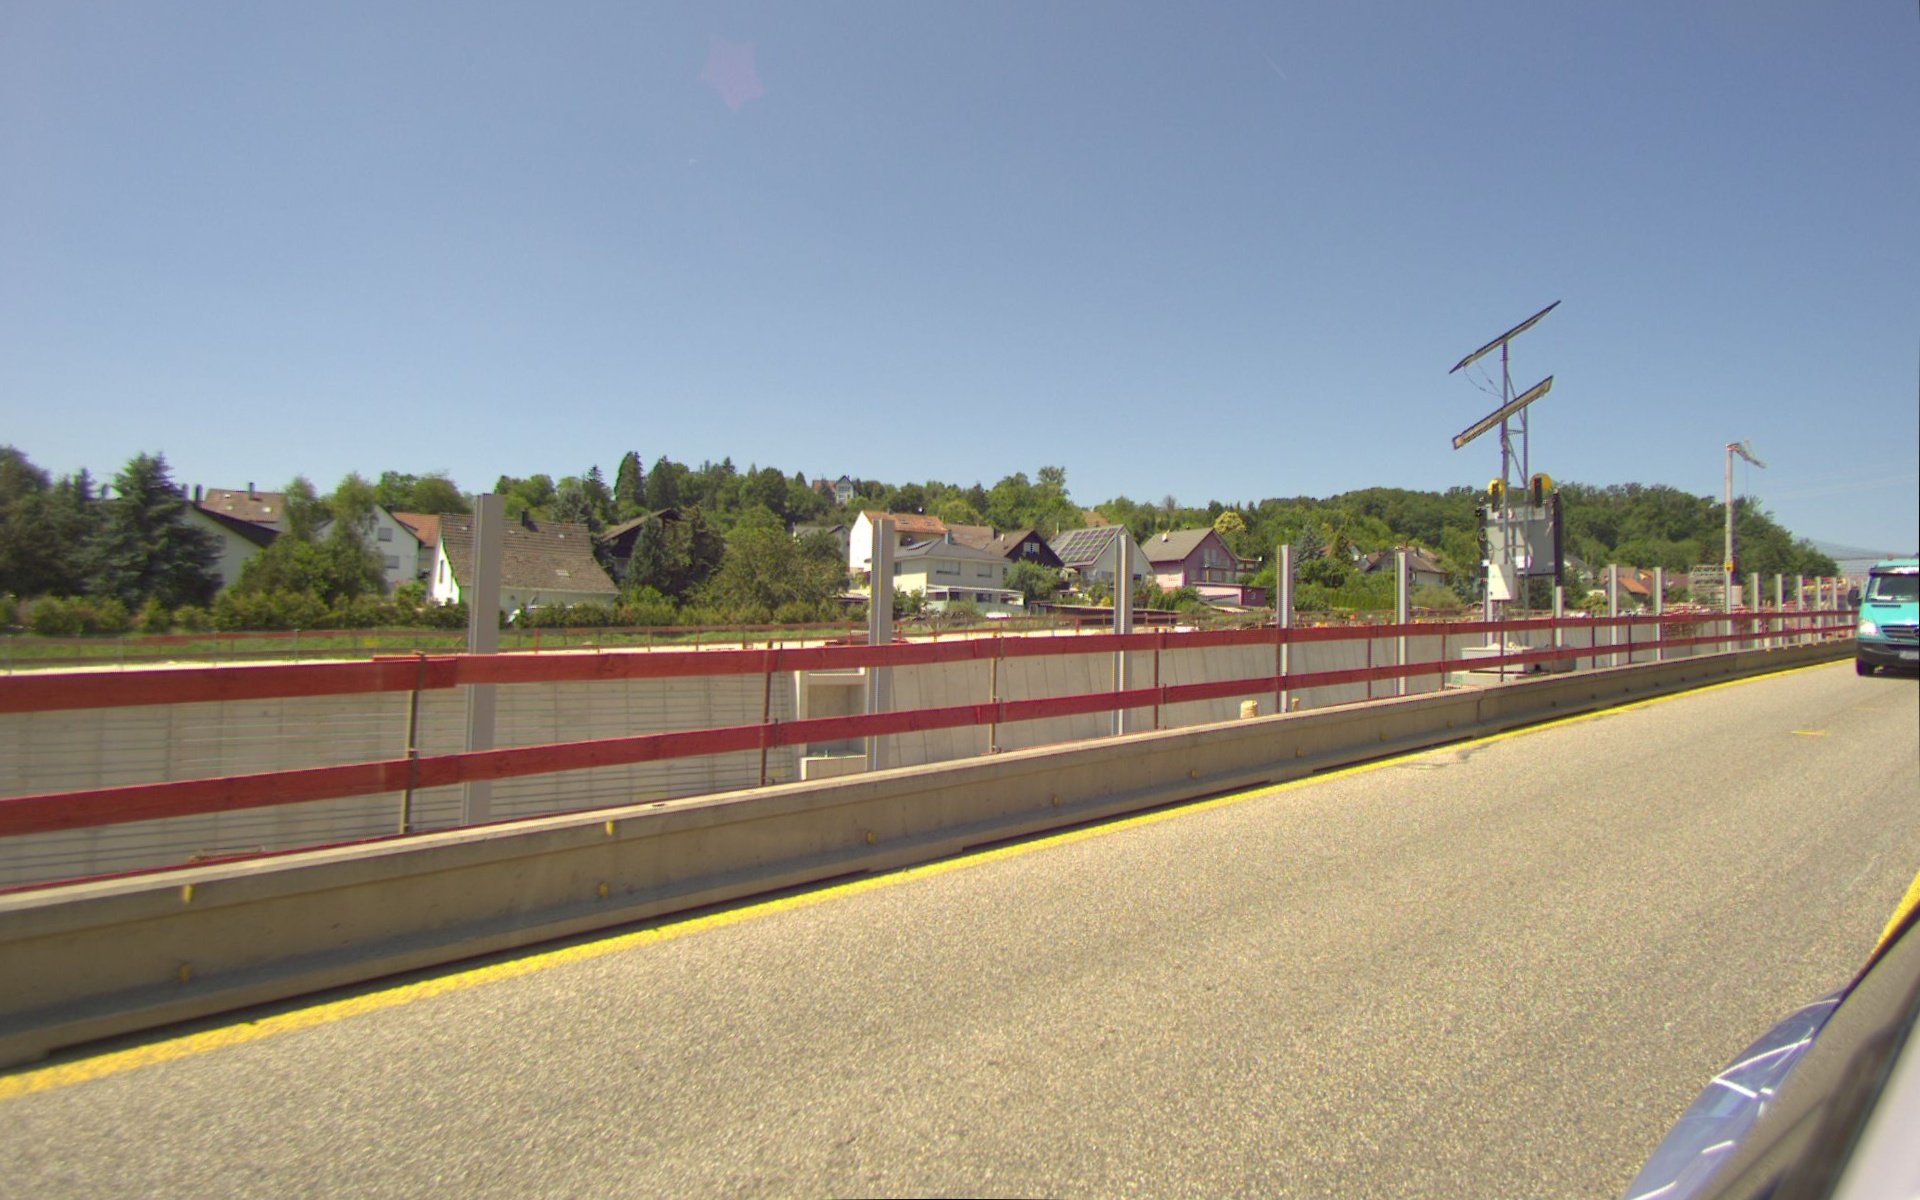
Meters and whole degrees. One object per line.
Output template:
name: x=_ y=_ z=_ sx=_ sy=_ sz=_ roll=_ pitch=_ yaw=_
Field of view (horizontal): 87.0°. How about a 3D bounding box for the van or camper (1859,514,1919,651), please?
van or camper: x=20.512 y=-0.296 z=20.788 sx=7.536 sy=2.504 sz=2.096 roll=0 pitch=0 yaw=-41
